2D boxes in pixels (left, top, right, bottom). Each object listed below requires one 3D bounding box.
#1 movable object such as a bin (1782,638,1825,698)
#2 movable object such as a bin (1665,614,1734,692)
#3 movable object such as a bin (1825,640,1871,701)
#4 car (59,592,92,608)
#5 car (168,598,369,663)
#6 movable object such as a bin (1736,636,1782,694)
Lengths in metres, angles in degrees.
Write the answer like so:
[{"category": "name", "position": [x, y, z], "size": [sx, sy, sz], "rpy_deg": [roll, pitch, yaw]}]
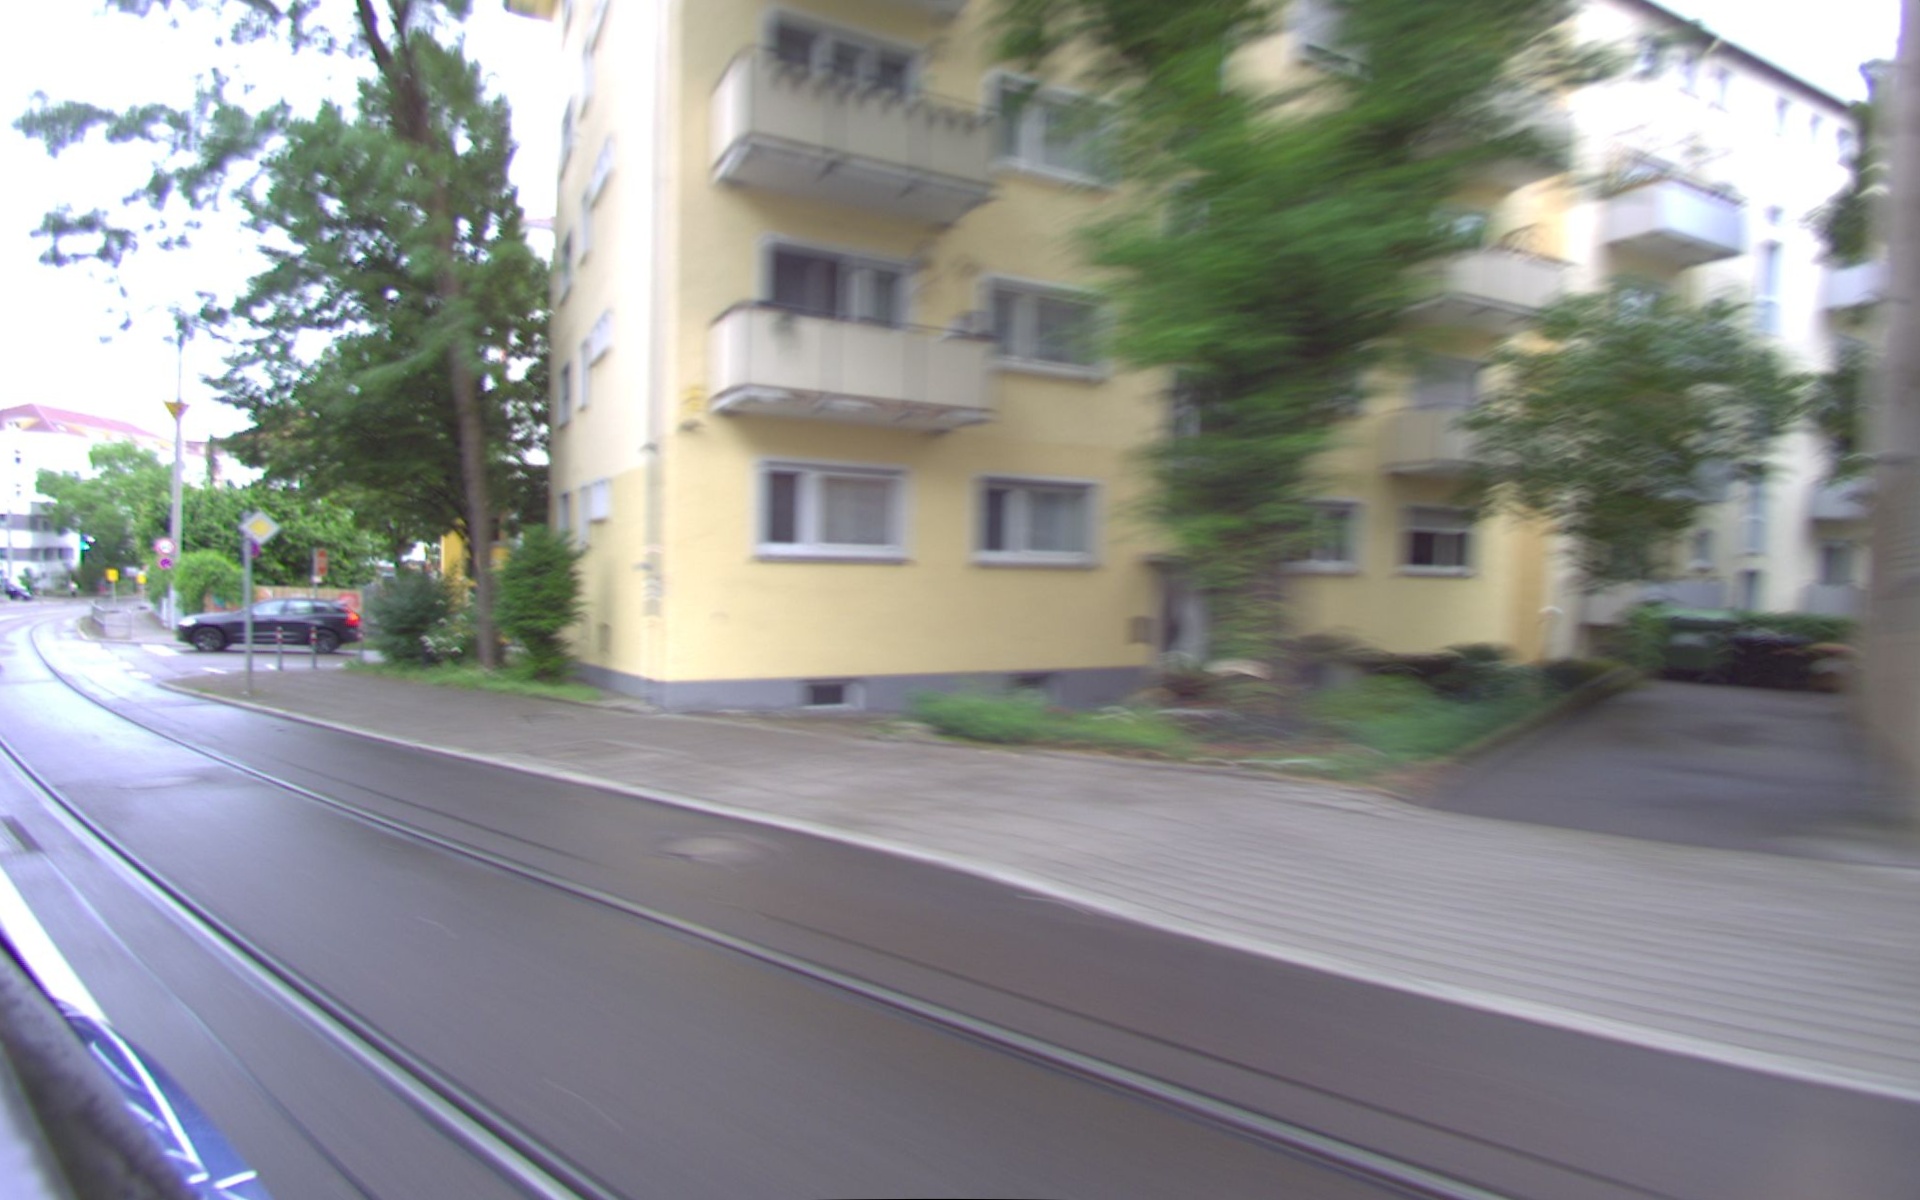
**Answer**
[{"category": "movable object such as a bin", "position": [16.200, 1.293, 19.451], "size": [0.581, 1.042, 0.688], "rpy_deg": [3, 3, 39]}, {"category": "movable object such as a bin", "position": [14.844, 1.037, 20.307], "size": [1.039, 1.442, 0.881], "rpy_deg": [3, 3, 39]}, {"category": "movable object such as a bin", "position": [16.714, 1.317, 19.065], "size": [0.581, 1.042, 0.688], "rpy_deg": [3, 3, 39]}, {"category": "car", "position": [-90.886, -0.045, 104.046], "size": [1.769, 1.521, 4.013], "rpy_deg": [0, 1, -29]}, {"category": "car", "position": [-20.690, 0.921, 30.551], "size": [4.689, 1.690, 2.078], "rpy_deg": [4, -1, -27]}, {"category": "movable object such as a bin", "position": [15.688, 1.268, 19.872], "size": [0.658, 1.042, 0.734], "rpy_deg": [3, 3, 39]}]
